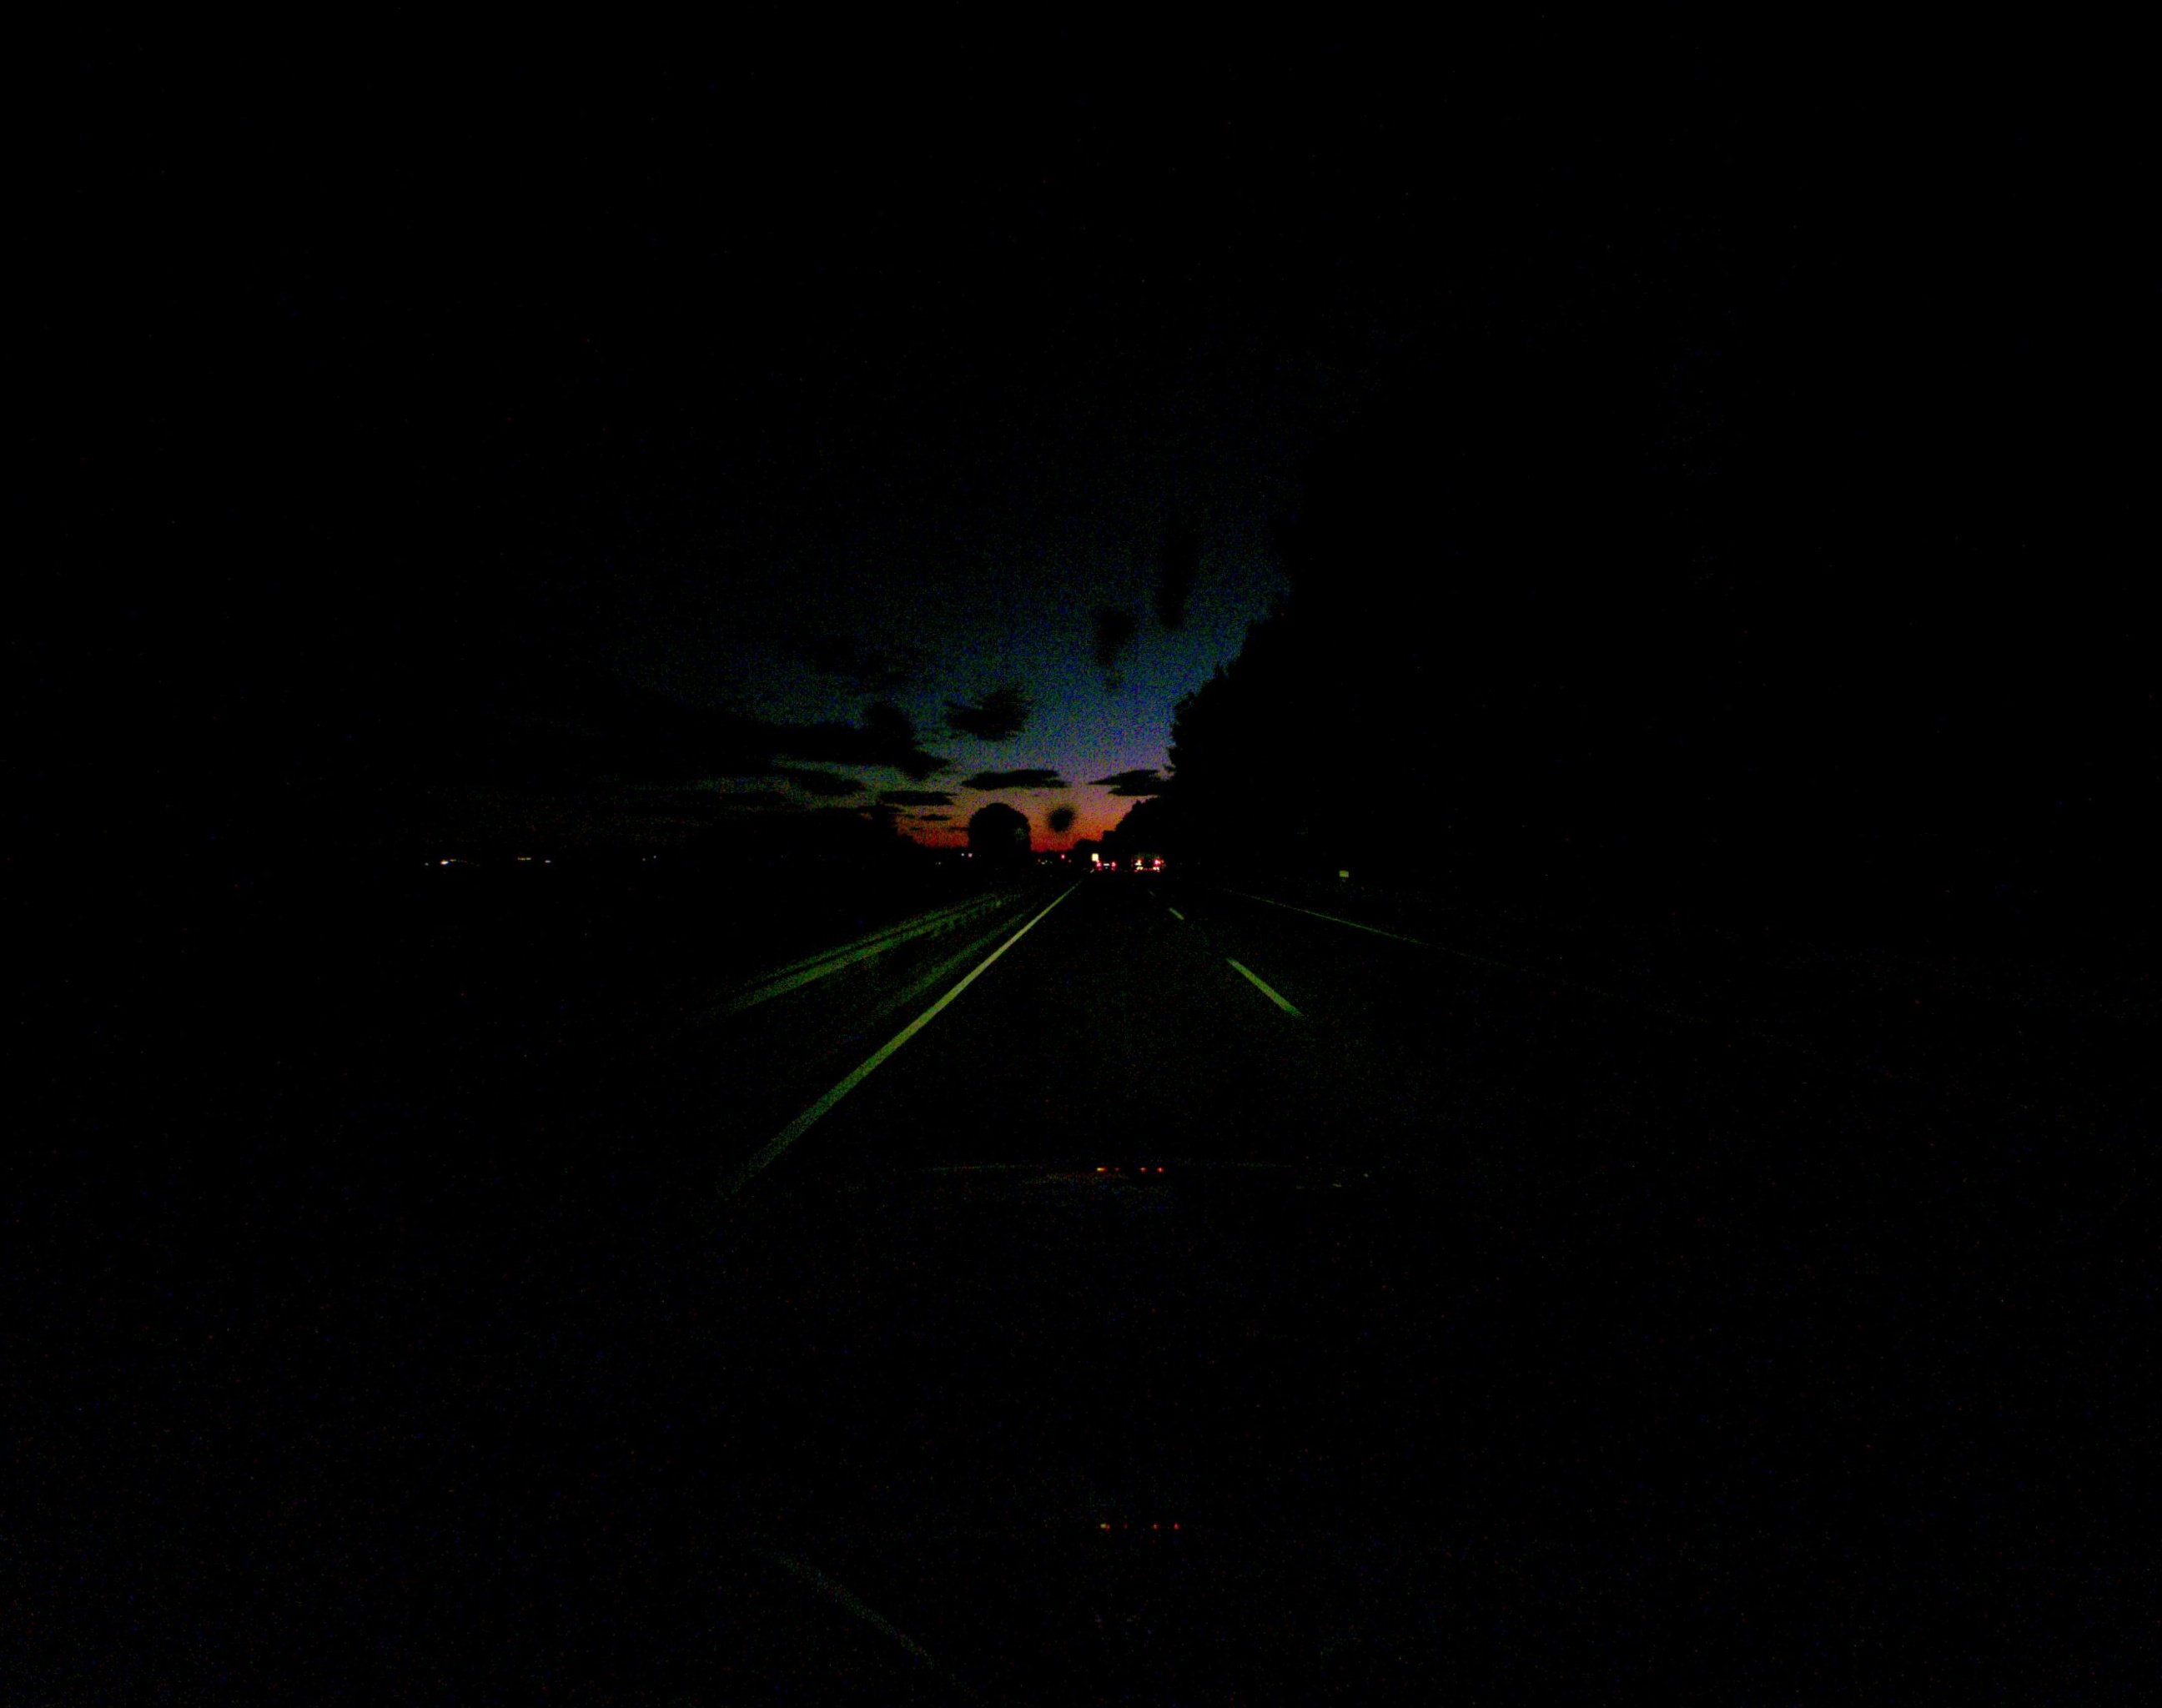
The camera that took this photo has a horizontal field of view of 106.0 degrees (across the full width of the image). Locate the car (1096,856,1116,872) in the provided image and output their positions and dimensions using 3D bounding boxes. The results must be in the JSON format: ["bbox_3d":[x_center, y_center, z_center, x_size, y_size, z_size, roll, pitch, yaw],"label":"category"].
[{"bbox_3d":[2.301,0.904,75.700,1.690,1.452,3.914,-1,0,0],"label":"car"}]

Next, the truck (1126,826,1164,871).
[{"bbox_3d":[6.183,-0.484,80.390,2.873,4.106,12.683,-1,0,1],"label":"truck"}]
